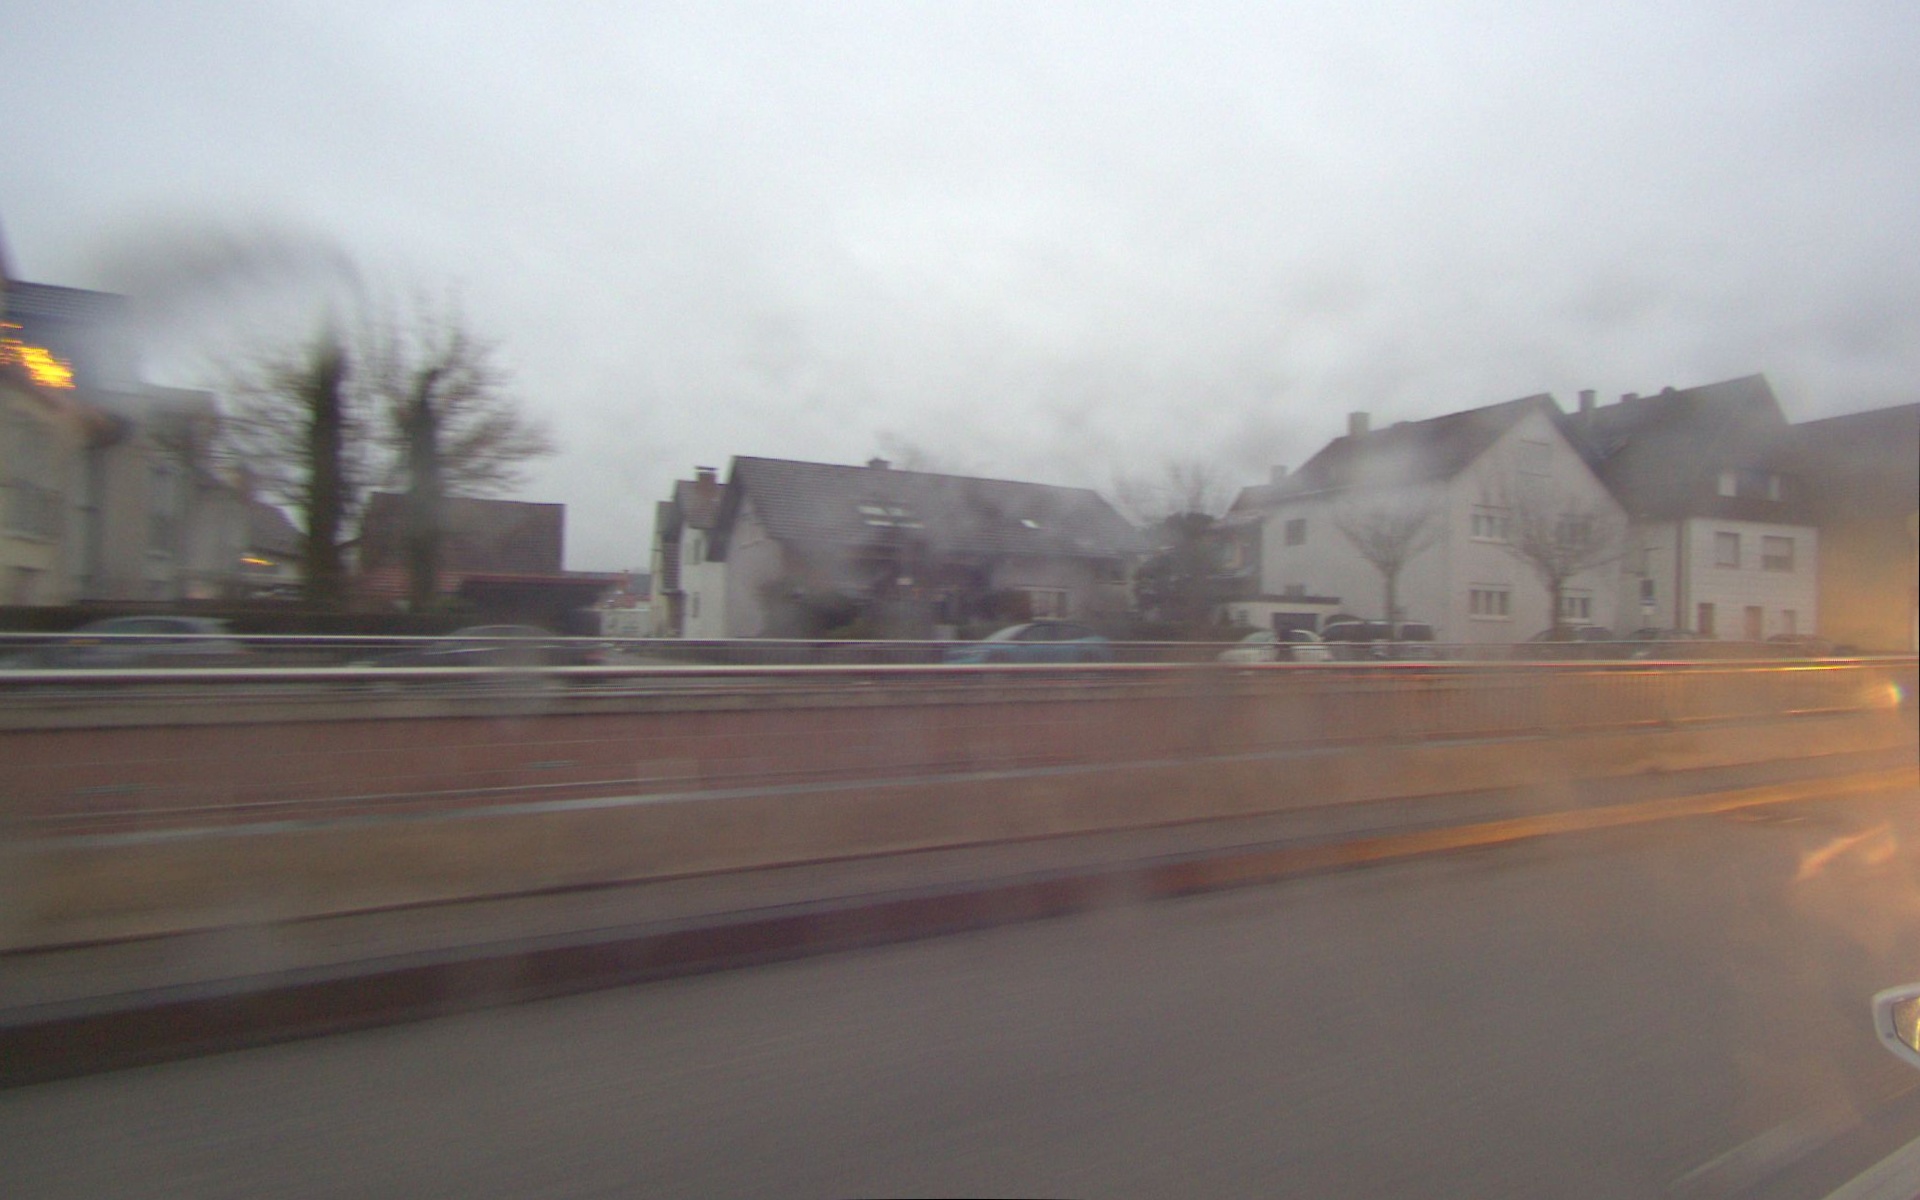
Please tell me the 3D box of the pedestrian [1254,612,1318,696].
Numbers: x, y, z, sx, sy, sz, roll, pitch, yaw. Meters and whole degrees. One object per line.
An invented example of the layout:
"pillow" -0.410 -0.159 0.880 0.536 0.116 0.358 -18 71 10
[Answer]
"pedestrian" 7.275 1.191 22.419 0.962 1.808 0.923 1 0 -32

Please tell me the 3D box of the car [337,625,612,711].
"car" -9.039 1.213 18.879 4.449 1.452 1.865 1 -3 -31

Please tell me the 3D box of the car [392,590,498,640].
"car" -22.531 0.665 43.962 3.957 2.040 1.982 3 0 -32

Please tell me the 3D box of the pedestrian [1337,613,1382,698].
"pedestrian" 8.248 1.128 20.739 0.534 1.720 0.662 1 0 -24

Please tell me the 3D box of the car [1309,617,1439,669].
"car" 14.478 1.503 35.315 1.841 1.716 3.972 1 -2 -27

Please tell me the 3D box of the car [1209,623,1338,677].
"car" 8.864 1.410 28.406 3.414 1.446 1.477 2 -1 -26

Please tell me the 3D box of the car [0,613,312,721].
"car" -13.327 1.053 16.454 4.449 1.593 1.865 1 -3 -31

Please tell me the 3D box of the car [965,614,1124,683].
"car" 2.130 1.229 25.010 3.777 1.601 1.557 2 -3 -31

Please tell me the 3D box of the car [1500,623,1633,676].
"car" 20.432 1.620 33.824 4.162 1.705 1.904 1 -1 -26
